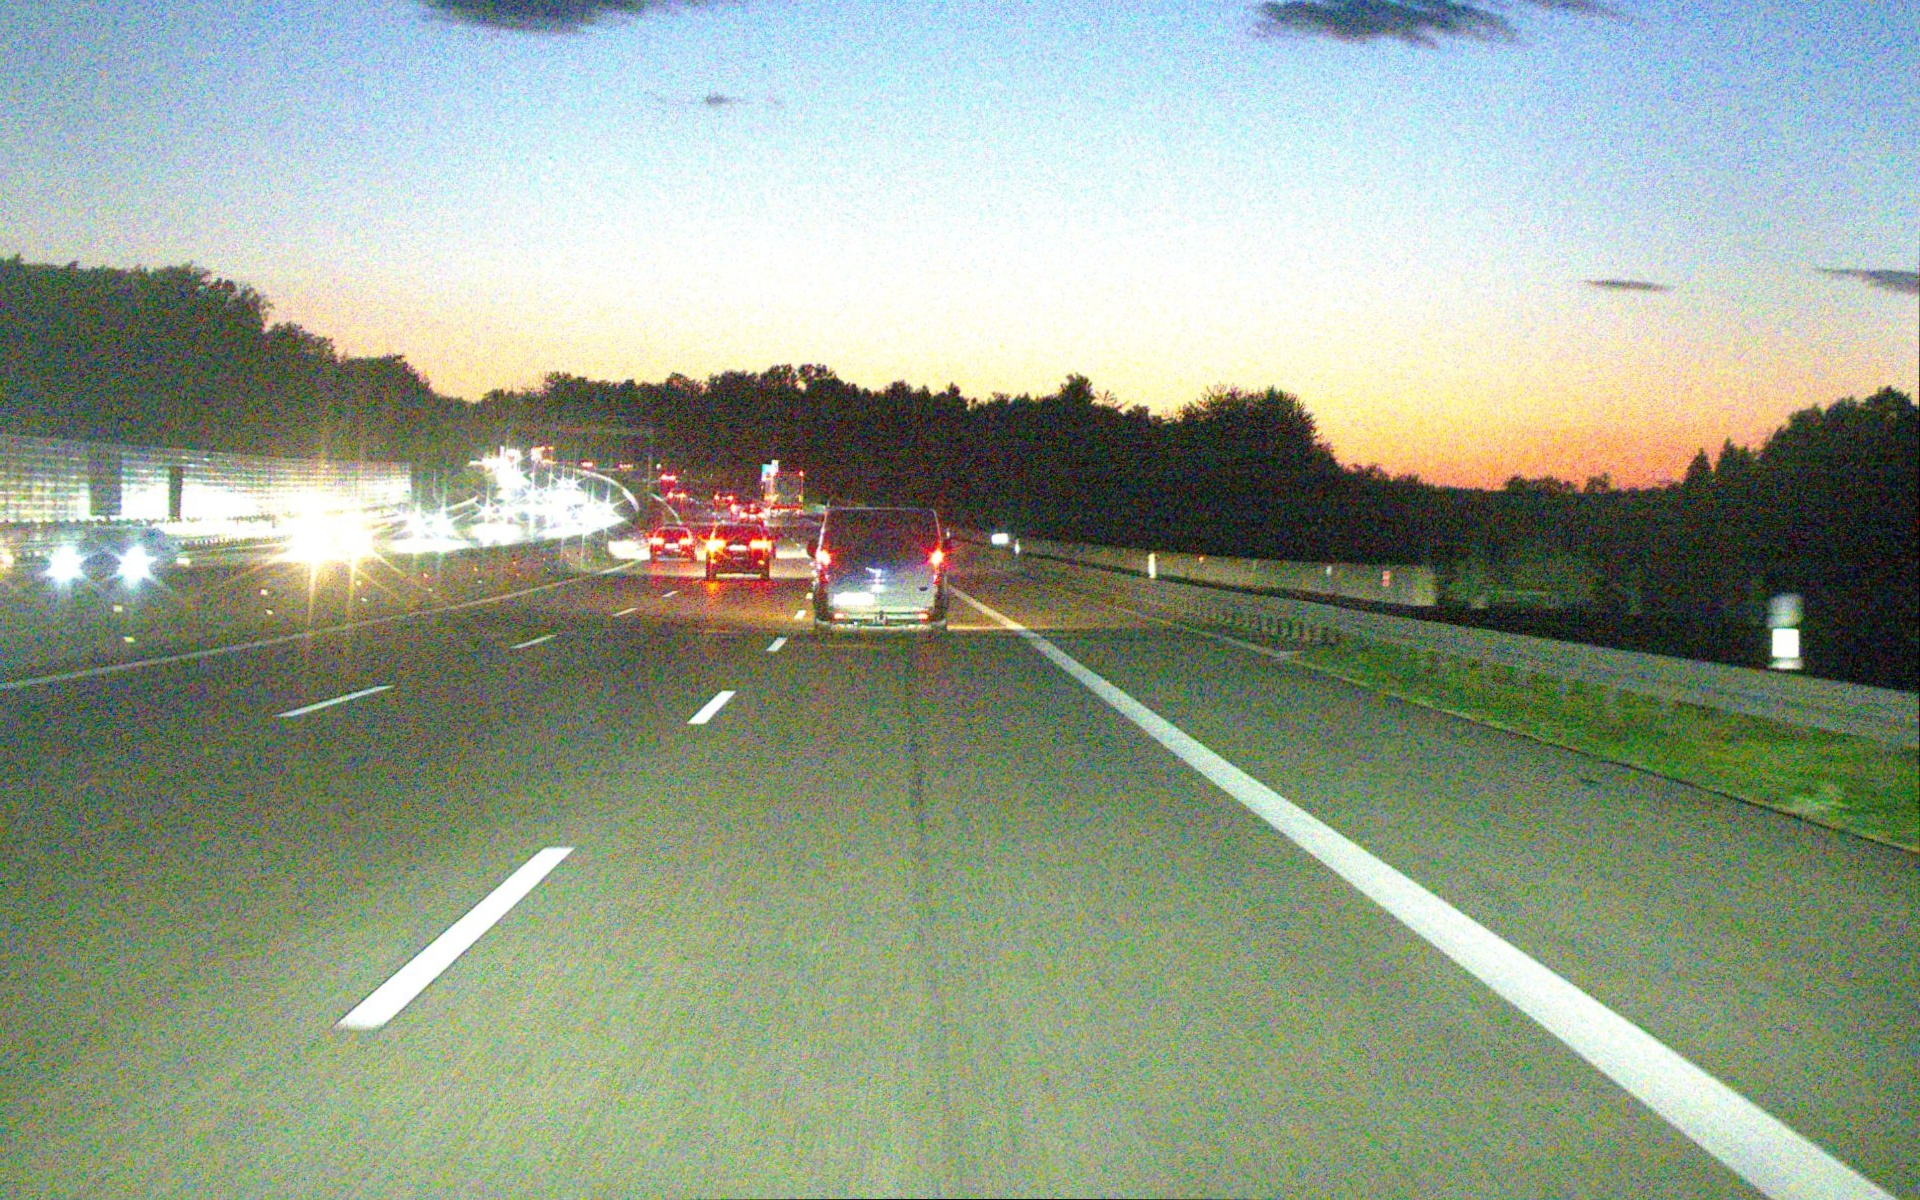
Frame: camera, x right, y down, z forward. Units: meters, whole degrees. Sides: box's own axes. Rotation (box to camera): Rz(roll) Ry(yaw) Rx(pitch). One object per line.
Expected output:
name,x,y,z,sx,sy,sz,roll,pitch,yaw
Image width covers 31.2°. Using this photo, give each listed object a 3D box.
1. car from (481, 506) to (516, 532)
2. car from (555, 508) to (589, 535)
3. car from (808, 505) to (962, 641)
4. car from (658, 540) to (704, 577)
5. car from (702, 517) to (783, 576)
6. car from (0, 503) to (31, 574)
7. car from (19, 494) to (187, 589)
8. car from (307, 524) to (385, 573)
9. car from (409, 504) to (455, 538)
car,-34.499,-6.052,257.122,2.104,1.783,4.651,1,0,-2
car,-27.285,-5.533,241.765,2.104,1.783,4.652,1,0,-3
car,-1.180,-0.431,51.681,2.196,1.949,4.764,0,1,-3
car,-11.325,-1.686,139.778,1.549,1.426,5.514,0,0,-2
car,-6.655,-1.621,105.562,1.993,1.715,5.942,0,0,1
car,-25.324,-1.580,87.349,2.104,1.783,4.869,1,0,0
car,-16.842,-1.176,67.803,2.104,1.783,4.870,1,1,0
car,-23.226,-1.932,130.265,2.104,1.783,4.651,1,0,0
car,-30.384,-4.540,198.020,2.104,1.783,4.651,1,0,-2
